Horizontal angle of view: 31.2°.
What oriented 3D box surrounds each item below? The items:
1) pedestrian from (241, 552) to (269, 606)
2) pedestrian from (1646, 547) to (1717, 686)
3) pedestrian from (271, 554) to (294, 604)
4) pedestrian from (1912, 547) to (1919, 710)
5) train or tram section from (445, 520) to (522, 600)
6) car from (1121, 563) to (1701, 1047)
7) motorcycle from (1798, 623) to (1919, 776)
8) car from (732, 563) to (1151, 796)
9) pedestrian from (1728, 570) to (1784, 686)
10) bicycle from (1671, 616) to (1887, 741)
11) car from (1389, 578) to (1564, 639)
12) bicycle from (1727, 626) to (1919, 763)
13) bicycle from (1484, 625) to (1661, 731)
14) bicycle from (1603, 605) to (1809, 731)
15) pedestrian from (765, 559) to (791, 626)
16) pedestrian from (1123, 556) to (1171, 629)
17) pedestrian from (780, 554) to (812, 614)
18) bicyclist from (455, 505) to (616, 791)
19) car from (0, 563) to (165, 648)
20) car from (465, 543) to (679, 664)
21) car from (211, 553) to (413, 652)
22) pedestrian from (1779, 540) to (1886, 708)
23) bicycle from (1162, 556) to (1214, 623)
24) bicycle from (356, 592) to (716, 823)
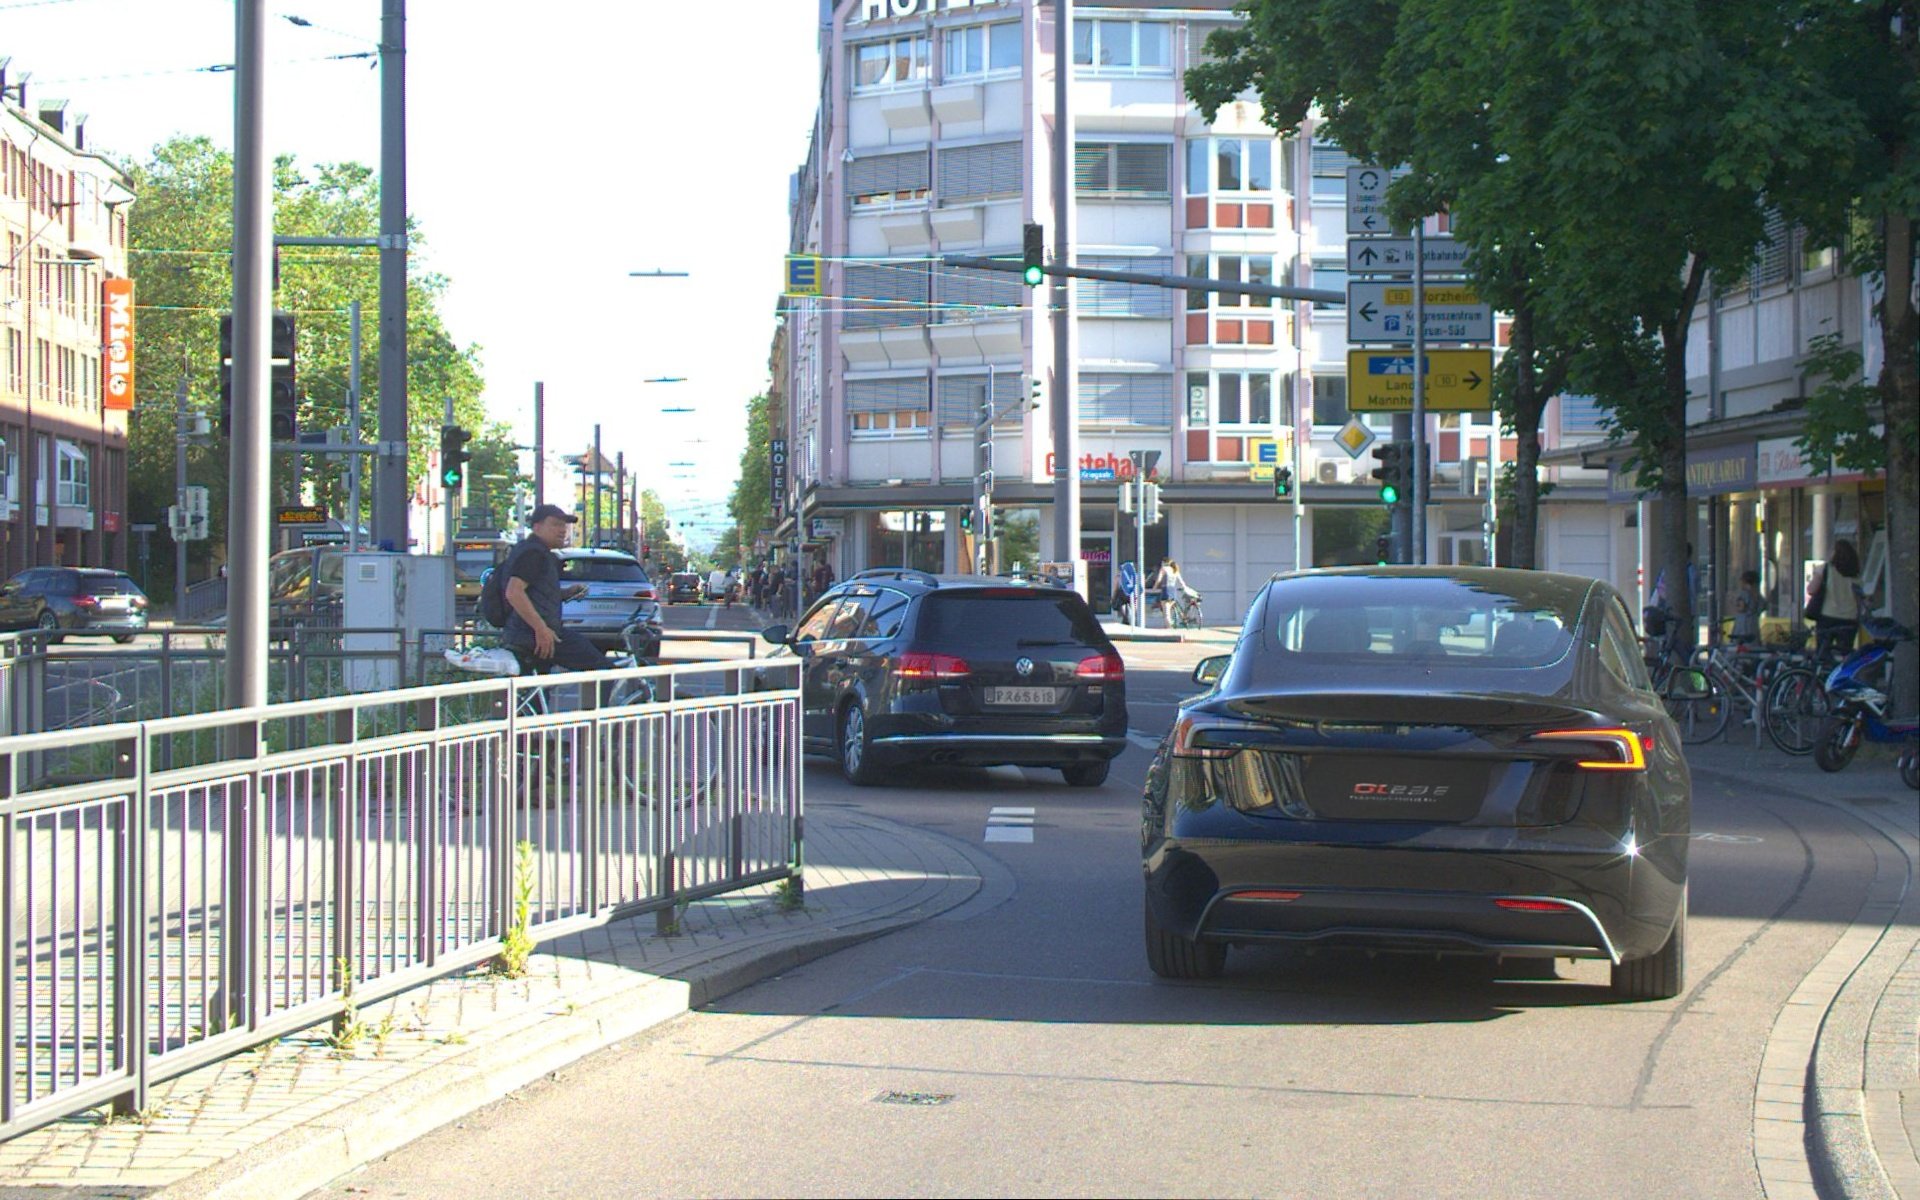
[{"bbox_3d":[-22.514,-0.662,109.749,0.584,1.715,0.636,1,0,25],"label":"pedestrian"},{"bbox_3d":[9.024,0.205,43.032,0.843,1.715,0.879,1,0,11],"label":"pedestrian"},{"bbox_3d":[-20.763,-0.642,105.384,0.583,1.525,0.637,1,0,-18],"label":"pedestrian"},{"bbox_3d":[9.809,0.286,33.396,0.843,1.597,0.880,1,0,-2],"label":"pedestrian"},{"bbox_3d":[-21.956,-1.788,158.728,2.729,3.530,10.087,1,0,-4],"label":"train or tram section"},{"bbox_3d":[1.811,0.612,12.723,1.791,1.446,3.938,1,1,12],"label":"car"},{"bbox_3d":[7.263,0.748,25.840,1.786,1.126,0.504,1,0,-3],"label":"motorcycle"},{"bbox_3d":[-0.246,0.483,24.070,1.764,1.439,4.530,0,1,-16],"label":"car"},{"bbox_3d":[9.863,0.342,42.626,0.645,1.417,0.621,1,0,11],"label":"pedestrian"},{"bbox_3d":[7.123,0.677,29.928,1.767,1.053,0.458,1,0,4],"label":"bicycle"},{"bbox_3d":[12.461,0.221,83.119,3.840,1.427,1.804,0,-2,-6],"label":"car"},{"bbox_3d":[7.174,0.755,27.890,1.849,1.052,0.399,-1,0,-12],"label":"bicycle"},{"bbox_3d":[6.943,0.879,38.997,1.890,1.152,0.480,-1,0,-1],"label":"bicycle"},{"bbox_3d":[6.921,0.628,31.913,1.809,1.147,0.435,0,0,-5],"label":"bicycle"},{"bbox_3d":[-4.820,-0.195,91.006,0.626,1.776,0.918,1,0,-4],"label":"pedestrian"},{"bbox_3d":[4.125,-0.175,75.803,0.779,1.571,0.868,1,1,-16],"label":"pedestrian"},{"bbox_3d":[-4.872,-0.468,101.971,0.914,1.748,0.839,1,0,-2],"label":"pedestrian"},{"bbox_3d":[-2.308,0.254,18.672,0.681,1.518,0.635,1,0,-26],"label":"bicyclist"},{"bbox_3d":[-16.797,0.089,64.606,3.469,1.546,1.727,1,0,35],"label":"car"},{"bbox_3d":[-5.520,0.043,48.608,1.839,1.629,3.486,1,0,-28],"label":"car"},{"bbox_3d":[-10.952,0.030,57.975,1.573,1.612,3.781,1,0,-42],"label":"car"},{"bbox_3d":[9.007,0.247,35.516,0.843,1.701,0.880,1,0,-2],"label":"pedestrian"},{"bbox_3d":[5.027,-0.235,75.815,0.582,1.458,1.686,0,1,-17],"label":"bicycle"},{"bbox_3d":[-2.298,0.572,18.675,1.820,1.208,0.642,1,0,-25],"label":"bicycle"}]
